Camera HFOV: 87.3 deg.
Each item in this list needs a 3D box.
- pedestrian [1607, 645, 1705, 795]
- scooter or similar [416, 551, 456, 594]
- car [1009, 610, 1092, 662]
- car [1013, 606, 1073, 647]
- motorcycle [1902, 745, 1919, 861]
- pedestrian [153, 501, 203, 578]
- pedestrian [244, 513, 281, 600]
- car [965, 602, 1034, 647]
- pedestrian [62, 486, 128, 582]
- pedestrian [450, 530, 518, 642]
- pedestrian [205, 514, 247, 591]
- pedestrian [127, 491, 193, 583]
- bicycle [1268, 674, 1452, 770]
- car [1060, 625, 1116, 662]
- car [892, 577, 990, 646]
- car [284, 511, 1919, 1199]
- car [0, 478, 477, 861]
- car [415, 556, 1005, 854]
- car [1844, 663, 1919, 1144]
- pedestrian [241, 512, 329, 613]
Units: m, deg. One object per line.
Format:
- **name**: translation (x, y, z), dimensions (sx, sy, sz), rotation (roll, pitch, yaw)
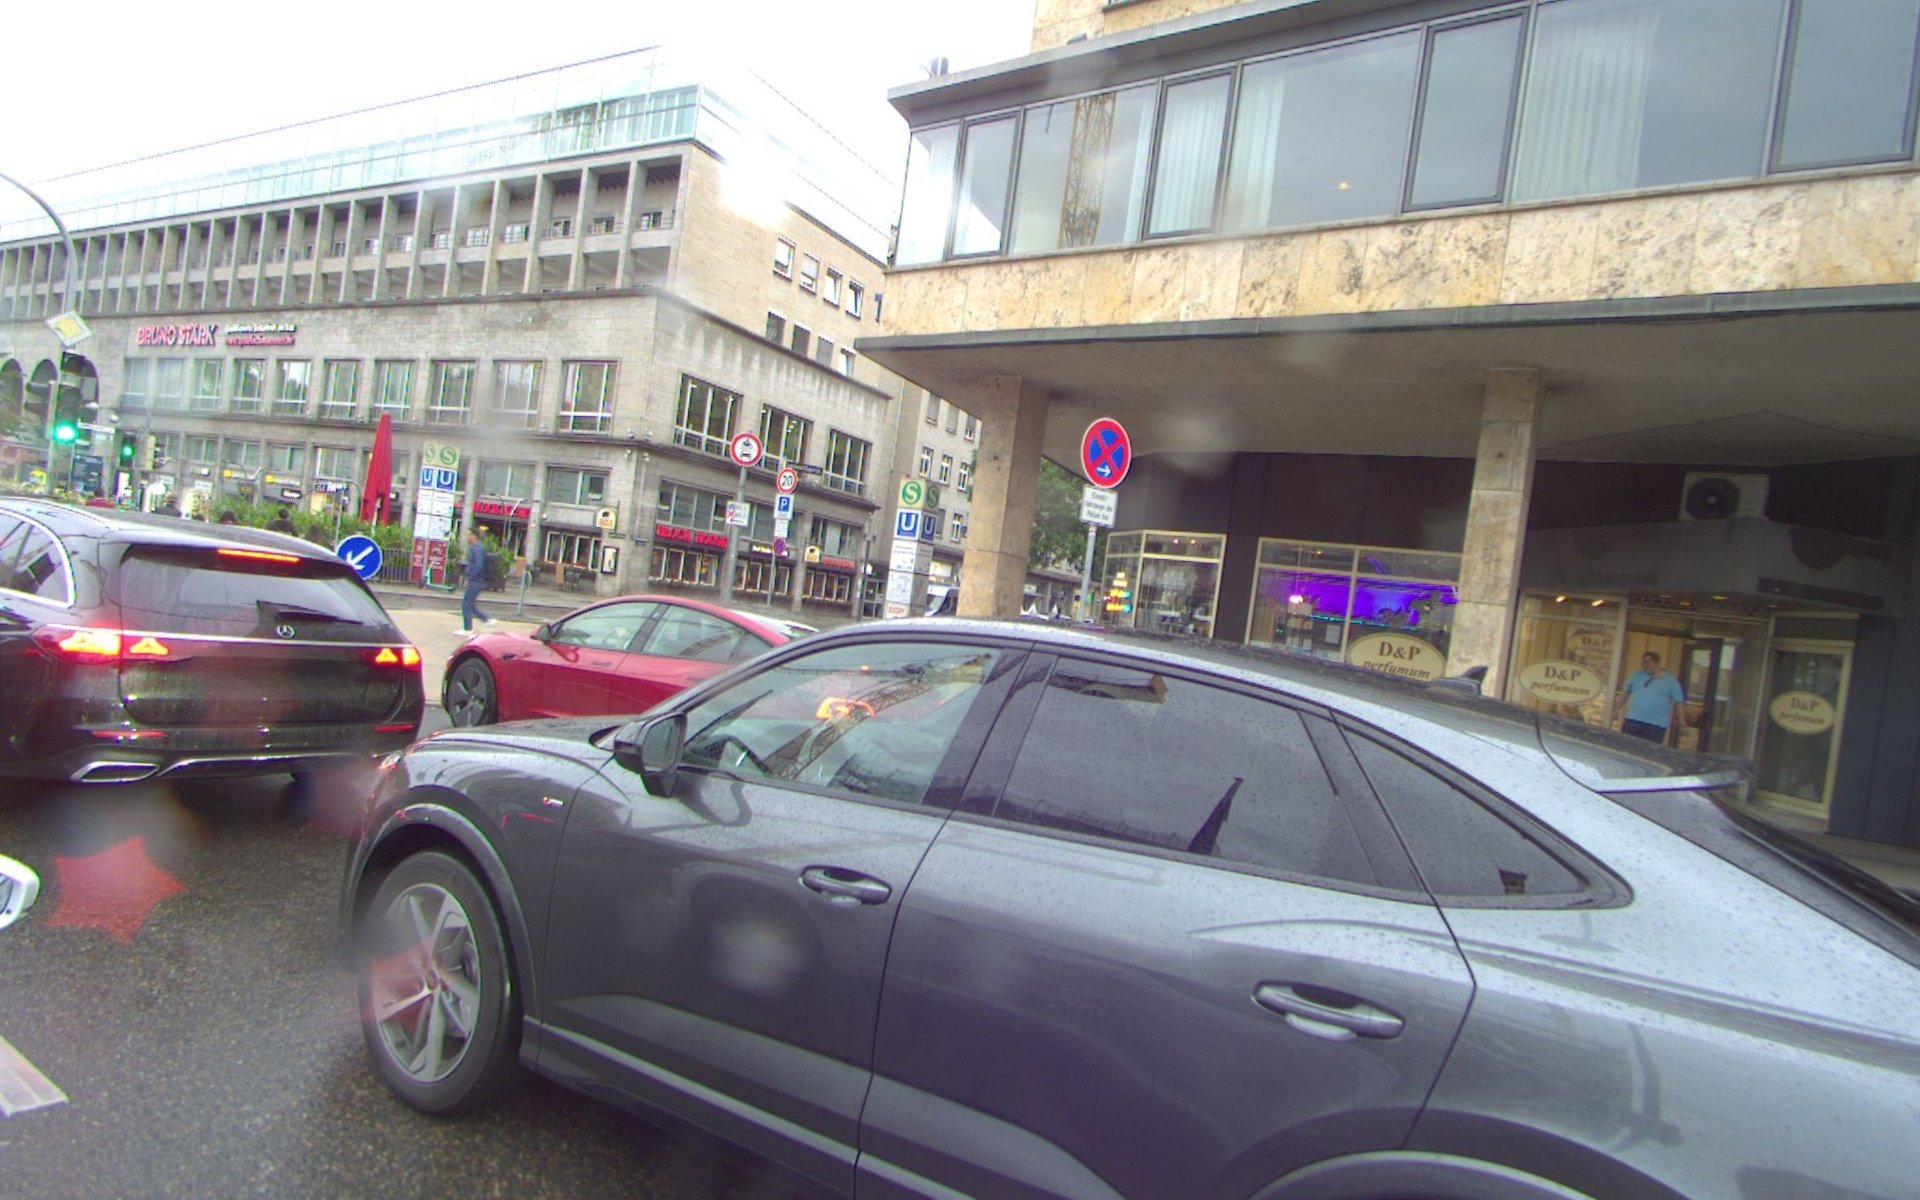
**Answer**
- **pedestrian**: translation (9.254, 1.591, 13.363), dimensions (0.790, 1.811, 1.131), rotation (6, -2, 41)
- **scooter or similar**: translation (-16.247, -0.850, 31.184), dimensions (1.000, 1.203, 0.291), rotation (7, -1, 13)
- **car**: translation (4.276, 1.724, 46.868), dimensions (1.966, 1.995, 4.638), rotation (7, -1, 29)
- **car**: translation (5.279, 1.719, 63.553), dimensions (1.966, 2.065, 4.483), rotation (7, -2, 29)
- **motorcycle**: translation (11.262, 2.292, 10.405), dimensions (2.074, 1.232, 0.567), rotation (6, -2, 40)
- **pedestrian**: translation (-15.752, -1.205, 20.272), dimensions (0.627, 1.444, 0.485), rotation (8, -1, -36)
- **pedestrian**: translation (-14.738, -0.914, 21.264), dimensions (0.477, 1.774, 0.661), rotation (5, 2, -30)
- **car**: translation (2.350, 1.477, 58.290), dimensions (1.966, 2.065, 4.557), rotation (7, -2, 29)
- **pedestrian**: translation (-16.990, -1.276, 19.772), dimensions (0.561, 1.772, 0.678), rotation (7, -1, -15)
- **pedestrian**: translation (-8.078, -0.230, 17.107), dimensions (0.768, 1.777, 0.503), rotation (8, -1, -15)
- **pedestrian**: translation (-15.241, -0.978, 20.900), dimensions (0.460, 1.535, 0.447), rotation (8, -1, -25)
- **pedestrian**: translation (-16.329, -1.276, 20.542), dimensions (0.458, 1.737, 0.757), rotation (7, -1, 28)
- **bicycle**: translation (6.035, 1.825, 15.269), dimensions (2.431, 1.058, 0.657), rotation (6, -1, 32)
- **car**: translation (8.970, 3.082, 70.304), dimensions (1.966, 2.065, 4.832), rotation (7, -2, 30)
- **car**: translation (-0.867, 0.682, 51.241), dimensions (1.965, 2.792, 6.185), rotation (7, -2, 28)
- **car**: translation (0.296, 0.773, 2.763), dimensions (4.271, 1.519, 1.882), rotation (6, -2, 32)
- **car**: translation (-5.152, 0.166, 5.986), dimensions (4.551, 1.519, 1.797), rotation (6, -2, 31)
- **car**: translation (-2.106, 0.682, 8.076), dimensions (4.451, 1.503, 1.878), rotation (6, -2, 31)
- **car**: translation (6.086, 1.436, 2.922), dimensions (4.853, 1.942, 1.878), rotation (6, -2, 31)
- **pedestrian**: translation (-12.743, -0.687, 19.004), dimensions (0.642, 1.774, 1.097), rotation (7, 2, 29)
